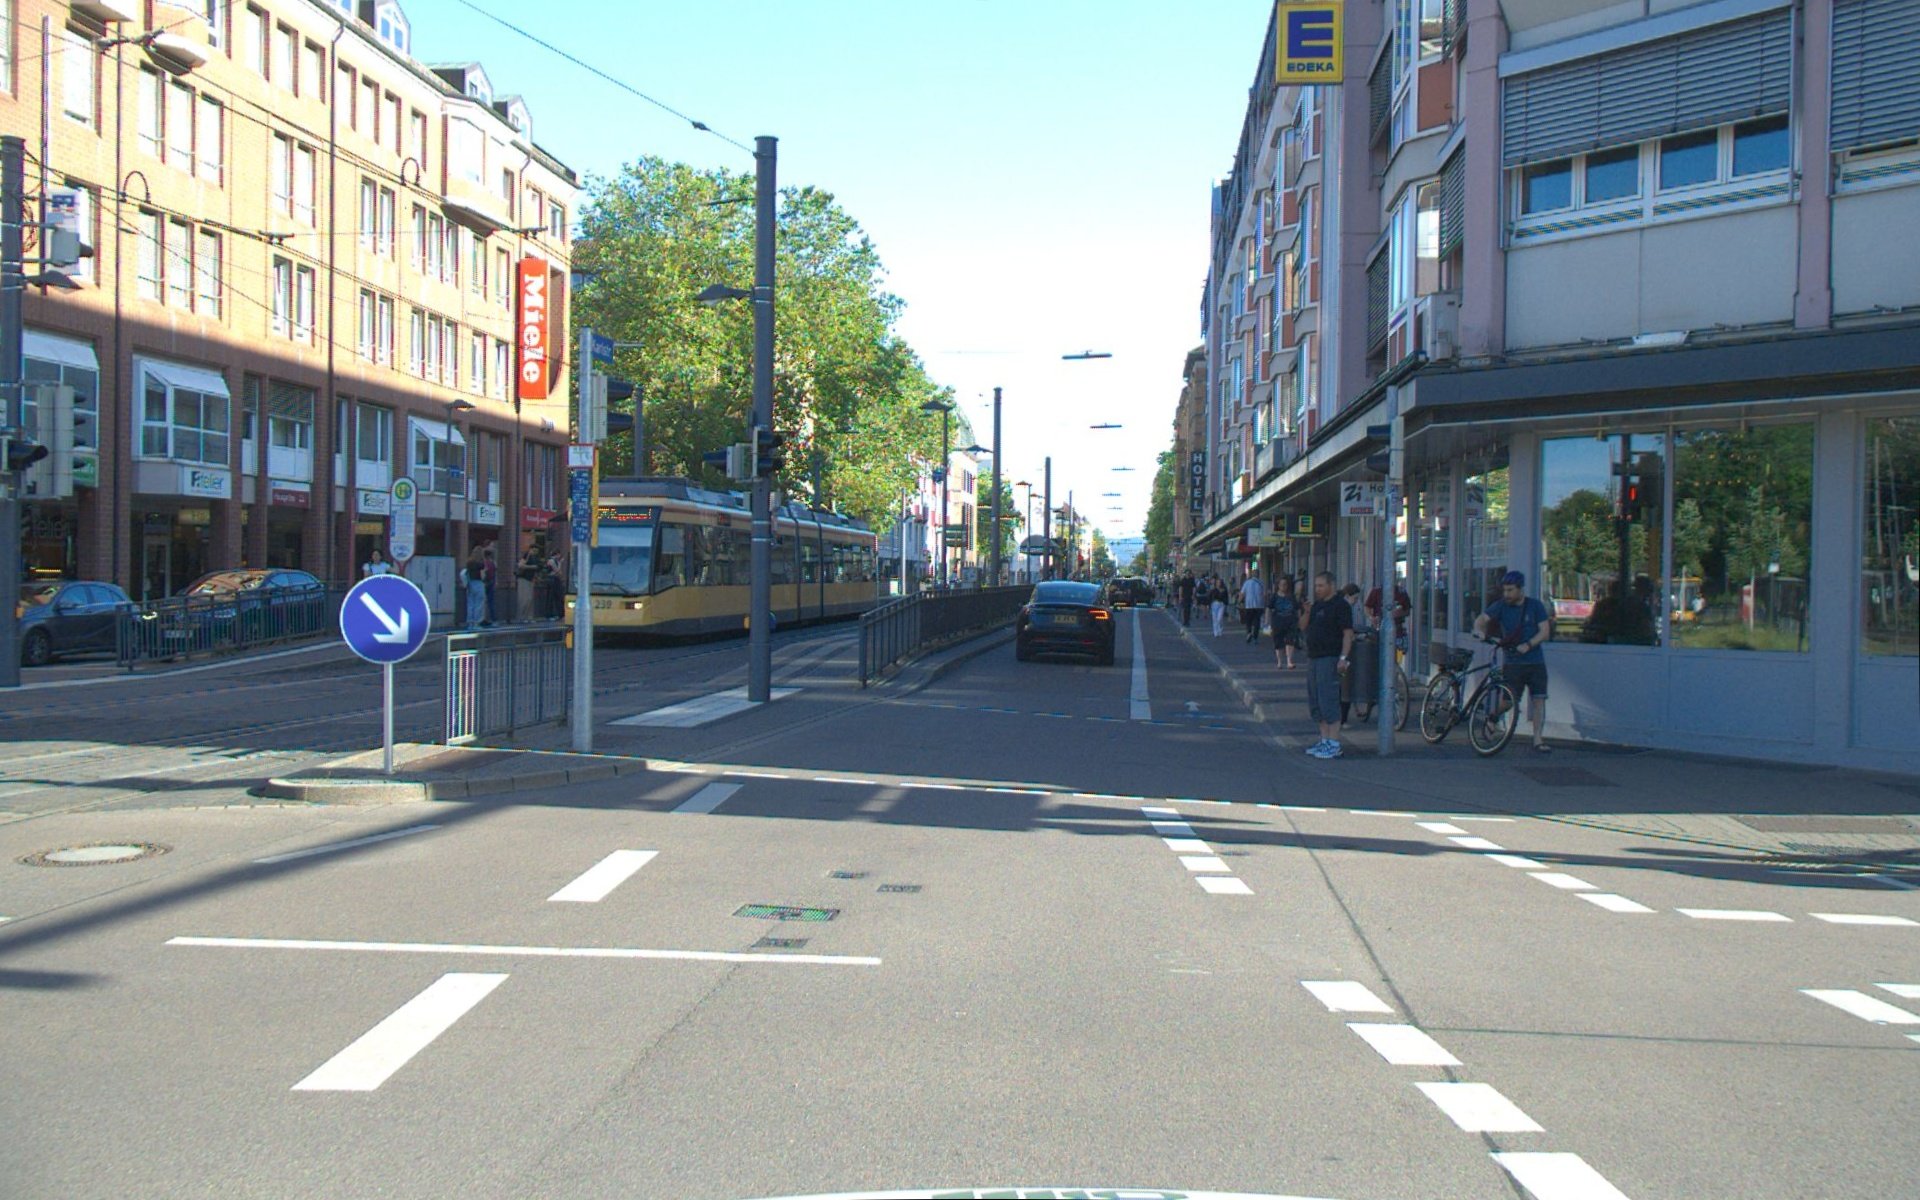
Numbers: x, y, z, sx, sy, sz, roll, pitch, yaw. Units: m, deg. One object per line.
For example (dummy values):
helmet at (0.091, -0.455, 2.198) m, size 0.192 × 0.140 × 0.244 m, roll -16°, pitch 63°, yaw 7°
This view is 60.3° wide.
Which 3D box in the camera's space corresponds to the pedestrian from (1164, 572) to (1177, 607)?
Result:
pedestrian at (11.856, -0.610, 93.322) m, size 0.682 × 1.929 × 0.750 m, roll 1°, pitch 0°, yaw 6°

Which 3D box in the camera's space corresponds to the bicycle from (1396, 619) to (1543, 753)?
bicycle at (4.967, 0.808, 16.256) m, size 0.479 × 1.181 × 1.968 m, roll 1°, pitch 1°, yaw -11°

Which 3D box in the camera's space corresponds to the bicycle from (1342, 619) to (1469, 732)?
bicycle at (4.940, 0.810, 18.482) m, size 0.479 × 1.121 × 2.119 m, roll 1°, pitch 1°, yaw -11°

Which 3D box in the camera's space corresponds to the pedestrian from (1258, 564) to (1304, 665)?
pedestrian at (5.547, 0.249, 28.614) m, size 0.682 × 1.707 × 0.750 m, roll 1°, pitch 0°, yaw 6°

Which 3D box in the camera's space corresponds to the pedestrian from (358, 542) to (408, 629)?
pedestrian at (-10.737, -0.274, 30.763) m, size 0.622 × 1.591 × 0.585 m, roll 1°, pitch 0°, yaw 19°

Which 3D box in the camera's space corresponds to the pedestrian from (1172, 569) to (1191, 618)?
pedestrian at (8.858, -0.256, 66.209) m, size 0.682 × 1.929 × 0.750 m, roll 1°, pitch 0°, yaw 6°

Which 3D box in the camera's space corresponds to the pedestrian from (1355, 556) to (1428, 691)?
pedestrian at (5.589, 0.297, 21.451) m, size 0.673 × 1.718 × 0.670 m, roll 1°, pitch 0°, yaw -8°

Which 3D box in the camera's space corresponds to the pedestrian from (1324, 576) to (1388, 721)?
pedestrian at (4.427, 0.535, 18.502) m, size 0.463 × 1.590 × 0.543 m, roll 1°, pitch 0°, yaw -13°

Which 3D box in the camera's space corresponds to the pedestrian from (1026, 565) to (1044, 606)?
pedestrian at (3.403, -0.649, 74.735) m, size 0.741 × 1.800 × 0.699 m, roll 1°, pitch 0°, yaw 5°

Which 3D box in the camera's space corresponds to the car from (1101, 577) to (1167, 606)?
car at (10.571, -0.528, 100.700) m, size 3.628 × 1.693 × 1.739 m, roll 1°, pitch 1°, yaw -9°

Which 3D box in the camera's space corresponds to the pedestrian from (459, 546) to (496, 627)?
pedestrian at (-9.489, -0.270, 32.539) m, size 0.572 × 1.557 × 0.637 m, roll 1°, pitch 0°, yaw -6°

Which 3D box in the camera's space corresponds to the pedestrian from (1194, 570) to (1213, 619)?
pedestrian at (9.741, -0.237, 66.182) m, size 0.682 × 1.929 × 0.750 m, roll 1°, pitch 0°, yaw 6°

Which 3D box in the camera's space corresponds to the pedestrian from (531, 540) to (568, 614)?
pedestrian at (-9.812, -0.548, 39.587) m, size 0.622 × 1.751 × 0.586 m, roll 1°, pitch 0°, yaw 15°

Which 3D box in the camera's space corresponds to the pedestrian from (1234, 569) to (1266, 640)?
pedestrian at (7.118, 0.103, 40.599) m, size 0.682 × 1.707 × 0.750 m, roll 1°, pitch 0°, yaw 6°

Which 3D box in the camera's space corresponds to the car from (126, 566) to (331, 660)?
car at (-13.029, 0.197, 29.719) m, size 1.779 × 1.571 × 3.794 m, roll -1°, pitch 1°, yaw 4°

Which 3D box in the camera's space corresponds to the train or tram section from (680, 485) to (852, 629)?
train or tram section at (-5.300, -1.166, 47.380) m, size 2.656 × 3.608 × 10.176 m, roll 1°, pitch 1°, yaw 6°

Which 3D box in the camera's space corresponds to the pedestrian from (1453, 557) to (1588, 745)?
pedestrian at (5.509, 0.482, 16.284) m, size 0.826 × 1.785 × 0.910 m, roll 1°, pitch 1°, yaw -26°

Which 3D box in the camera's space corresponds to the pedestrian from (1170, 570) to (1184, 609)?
pedestrian at (10.848, -0.544, 82.711) m, size 0.682 × 1.929 × 0.750 m, roll 1°, pitch 0°, yaw 6°

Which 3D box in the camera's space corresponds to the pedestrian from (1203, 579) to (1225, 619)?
pedestrian at (10.556, -0.049, 68.782) m, size 0.824 × 1.635 × 0.788 m, roll 1°, pitch 0°, yaw 7°

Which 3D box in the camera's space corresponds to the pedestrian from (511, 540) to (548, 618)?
pedestrian at (-9.731, -0.476, 37.377) m, size 0.622 × 1.751 × 0.586 m, roll 1°, pitch 0°, yaw 4°

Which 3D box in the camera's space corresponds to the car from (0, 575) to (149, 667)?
car at (-16.077, 0.321, 28.468) m, size 1.778 × 1.479 × 3.981 m, roll -1°, pitch 1°, yaw 10°

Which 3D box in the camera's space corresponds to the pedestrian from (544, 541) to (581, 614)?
pedestrian at (-9.659, -0.543, 40.193) m, size 0.622 × 1.751 × 0.609 m, roll 1°, pitch 0°, yaw 15°

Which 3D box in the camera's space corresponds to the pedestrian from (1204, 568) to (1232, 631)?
pedestrian at (7.092, -0.024, 45.472) m, size 0.682 × 1.707 × 0.750 m, roll 1°, pitch 0°, yaw 6°

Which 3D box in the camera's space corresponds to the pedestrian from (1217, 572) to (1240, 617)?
pedestrian at (10.926, -0.231, 67.366) m, size 0.824 × 1.786 × 0.788 m, roll 1°, pitch 0°, yaw 7°

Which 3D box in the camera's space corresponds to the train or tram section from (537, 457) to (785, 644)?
train or tram section at (-6.386, -1.030, 37.324) m, size 2.671 × 3.604 × 10.094 m, roll 1°, pitch 1°, yaw 6°

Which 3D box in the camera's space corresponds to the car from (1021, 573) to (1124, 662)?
car at (2.105, 0.286, 31.287) m, size 1.753 × 1.476 × 3.942 m, roll 2°, pitch 1°, yaw 3°

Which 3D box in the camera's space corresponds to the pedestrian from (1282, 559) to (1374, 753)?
pedestrian at (3.556, 0.519, 16.035) m, size 0.614 × 1.813 × 0.917 m, roll 1°, pitch 0°, yaw -3°

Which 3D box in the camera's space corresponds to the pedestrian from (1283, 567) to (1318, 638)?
pedestrian at (8.303, 0.050, 40.380) m, size 0.731 × 1.707 × 0.699 m, roll 1°, pitch 0°, yaw 7°

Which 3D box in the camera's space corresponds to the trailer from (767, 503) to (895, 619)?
trailer at (-4.279, -1.294, 57.081) m, size 2.656 × 3.608 × 9.365 m, roll 1°, pitch 1°, yaw 6°

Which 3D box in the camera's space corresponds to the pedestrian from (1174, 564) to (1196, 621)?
pedestrian at (7.723, -0.274, 56.689) m, size 0.682 × 1.929 × 0.750 m, roll 1°, pitch 0°, yaw 6°
